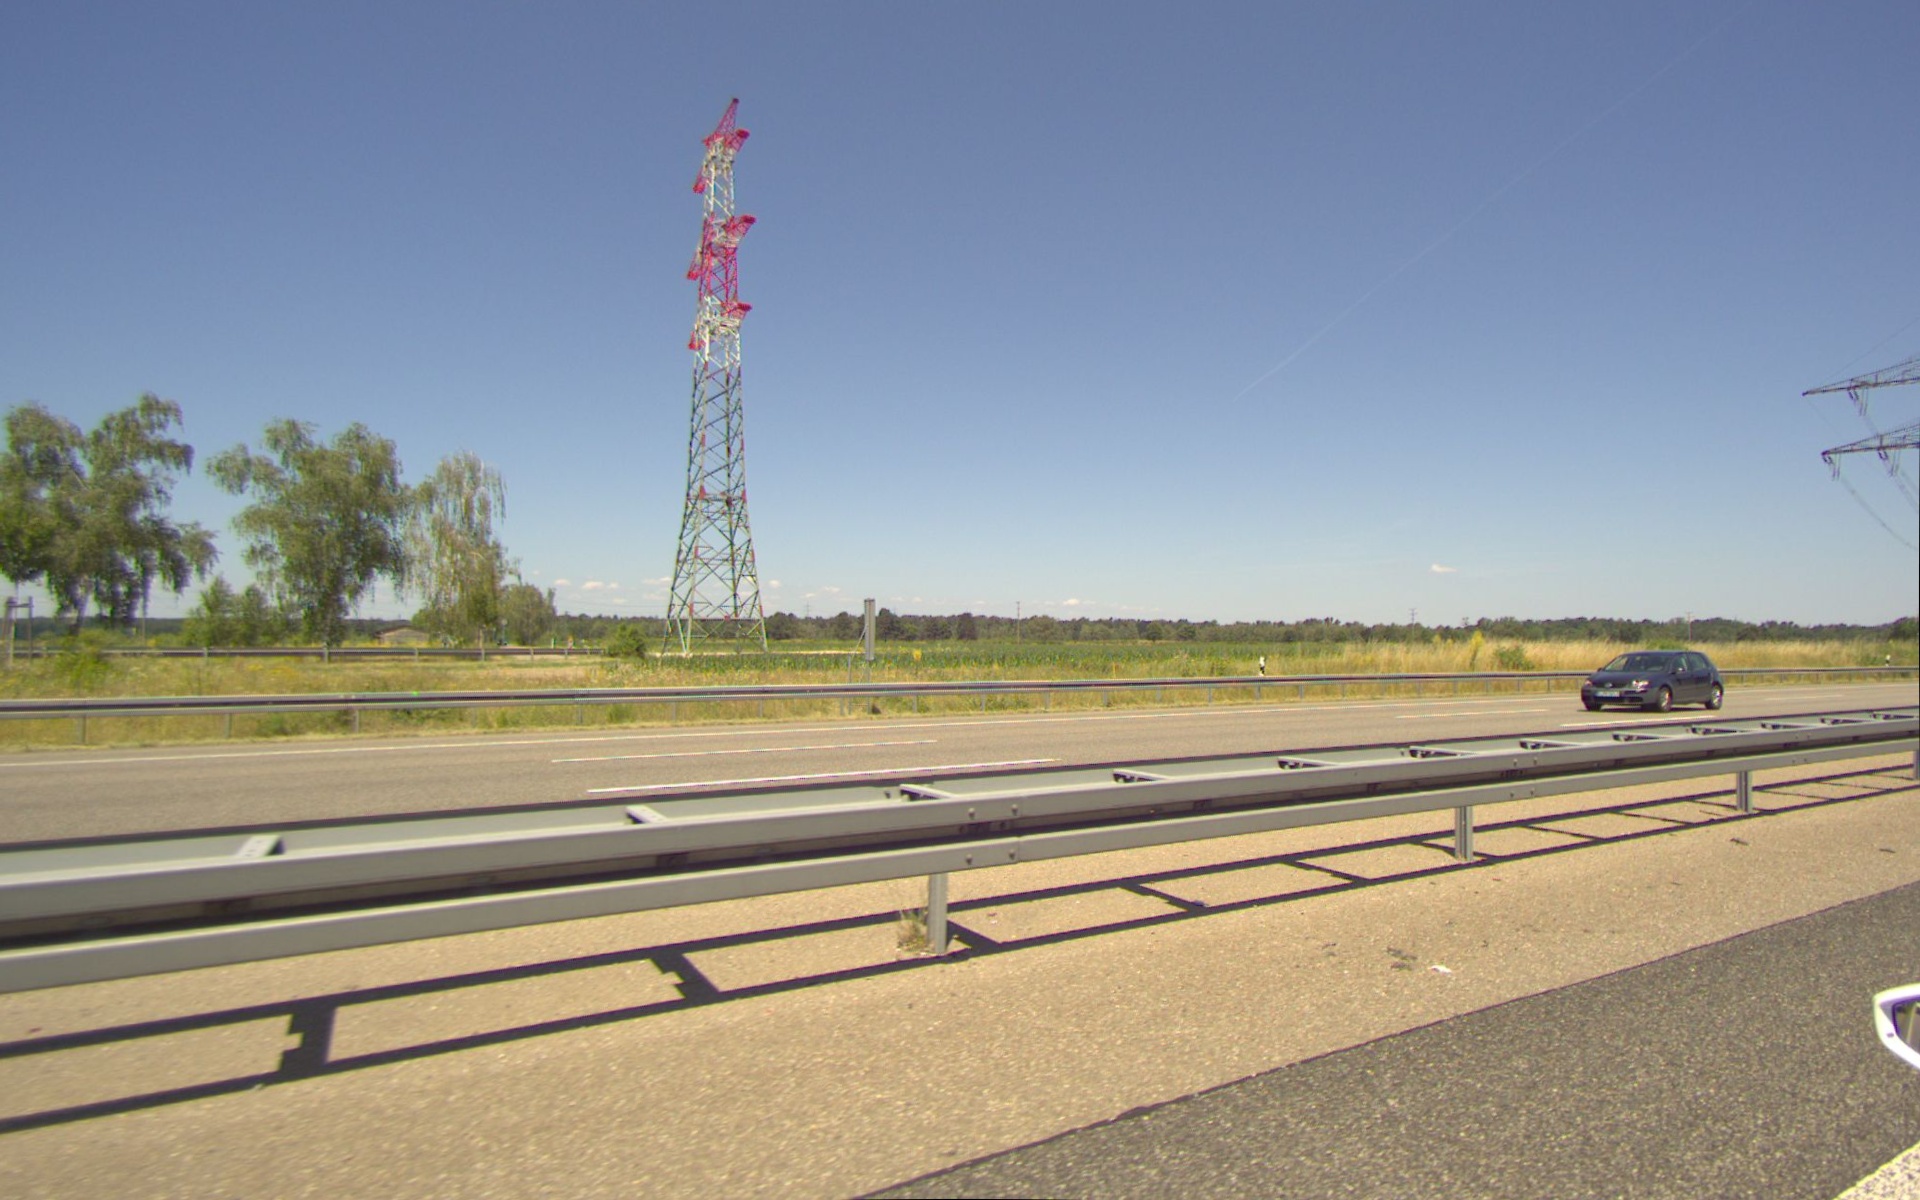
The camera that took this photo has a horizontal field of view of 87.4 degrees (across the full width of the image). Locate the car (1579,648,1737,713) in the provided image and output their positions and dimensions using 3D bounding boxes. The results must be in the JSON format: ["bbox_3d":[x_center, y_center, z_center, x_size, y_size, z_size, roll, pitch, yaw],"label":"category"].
[{"bbox_3d":[17.281,1.964,24.828,4.236,1.479,1.610,2,-5,-32],"label":"car"}]
